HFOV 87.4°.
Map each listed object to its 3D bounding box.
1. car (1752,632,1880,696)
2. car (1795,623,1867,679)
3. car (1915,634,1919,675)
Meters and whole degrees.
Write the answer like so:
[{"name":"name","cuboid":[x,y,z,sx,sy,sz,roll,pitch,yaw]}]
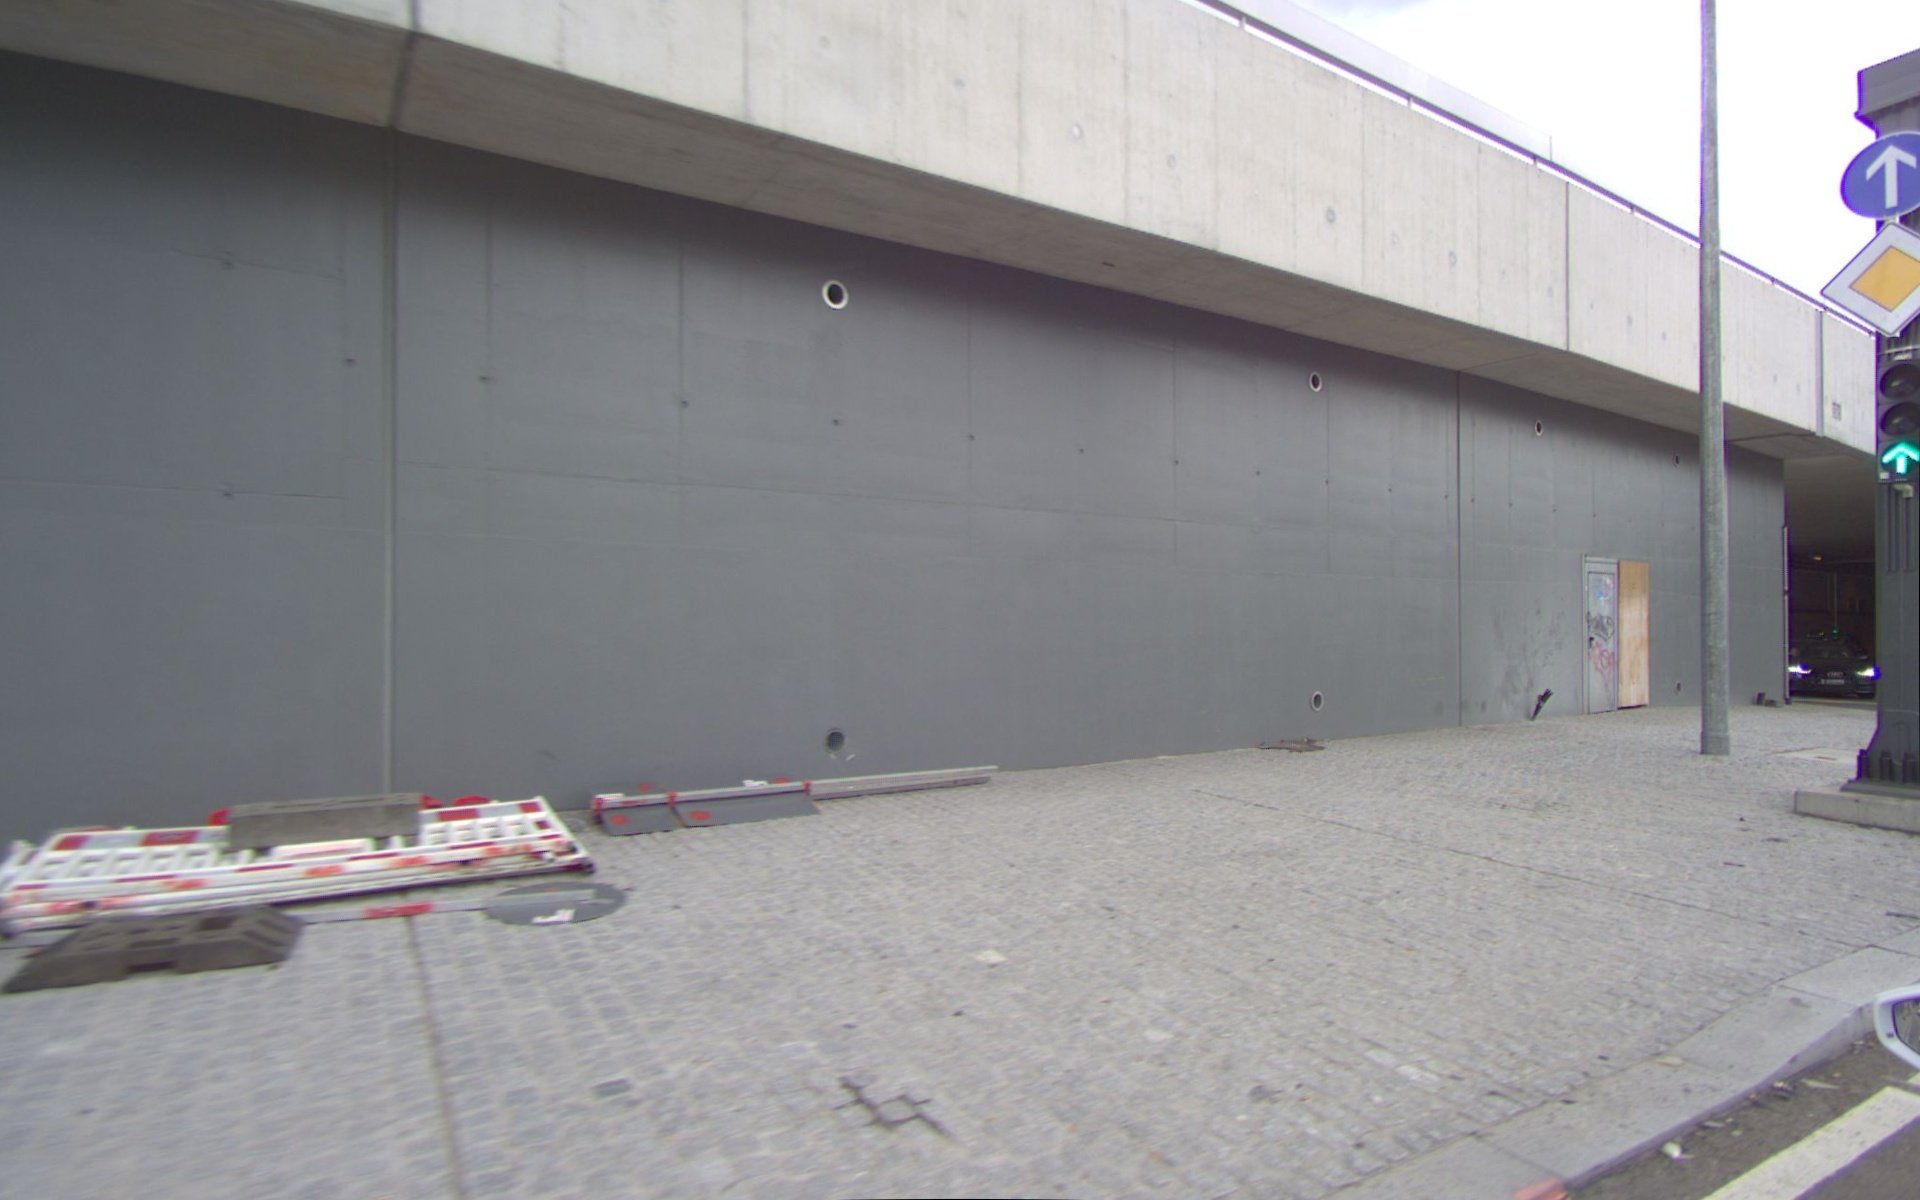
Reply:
[{"name":"car","cuboid":[22.591,1.616,26.687,1.824,1.462,4.833,0,-1,31]},{"name":"car","cuboid":[30.815,1.753,35.525,1.773,1.621,4.304,4,3,42]},{"name":"car","cuboid":[34.061,1.926,34.253,1.643,1.460,4.098,0,0,36]}]
